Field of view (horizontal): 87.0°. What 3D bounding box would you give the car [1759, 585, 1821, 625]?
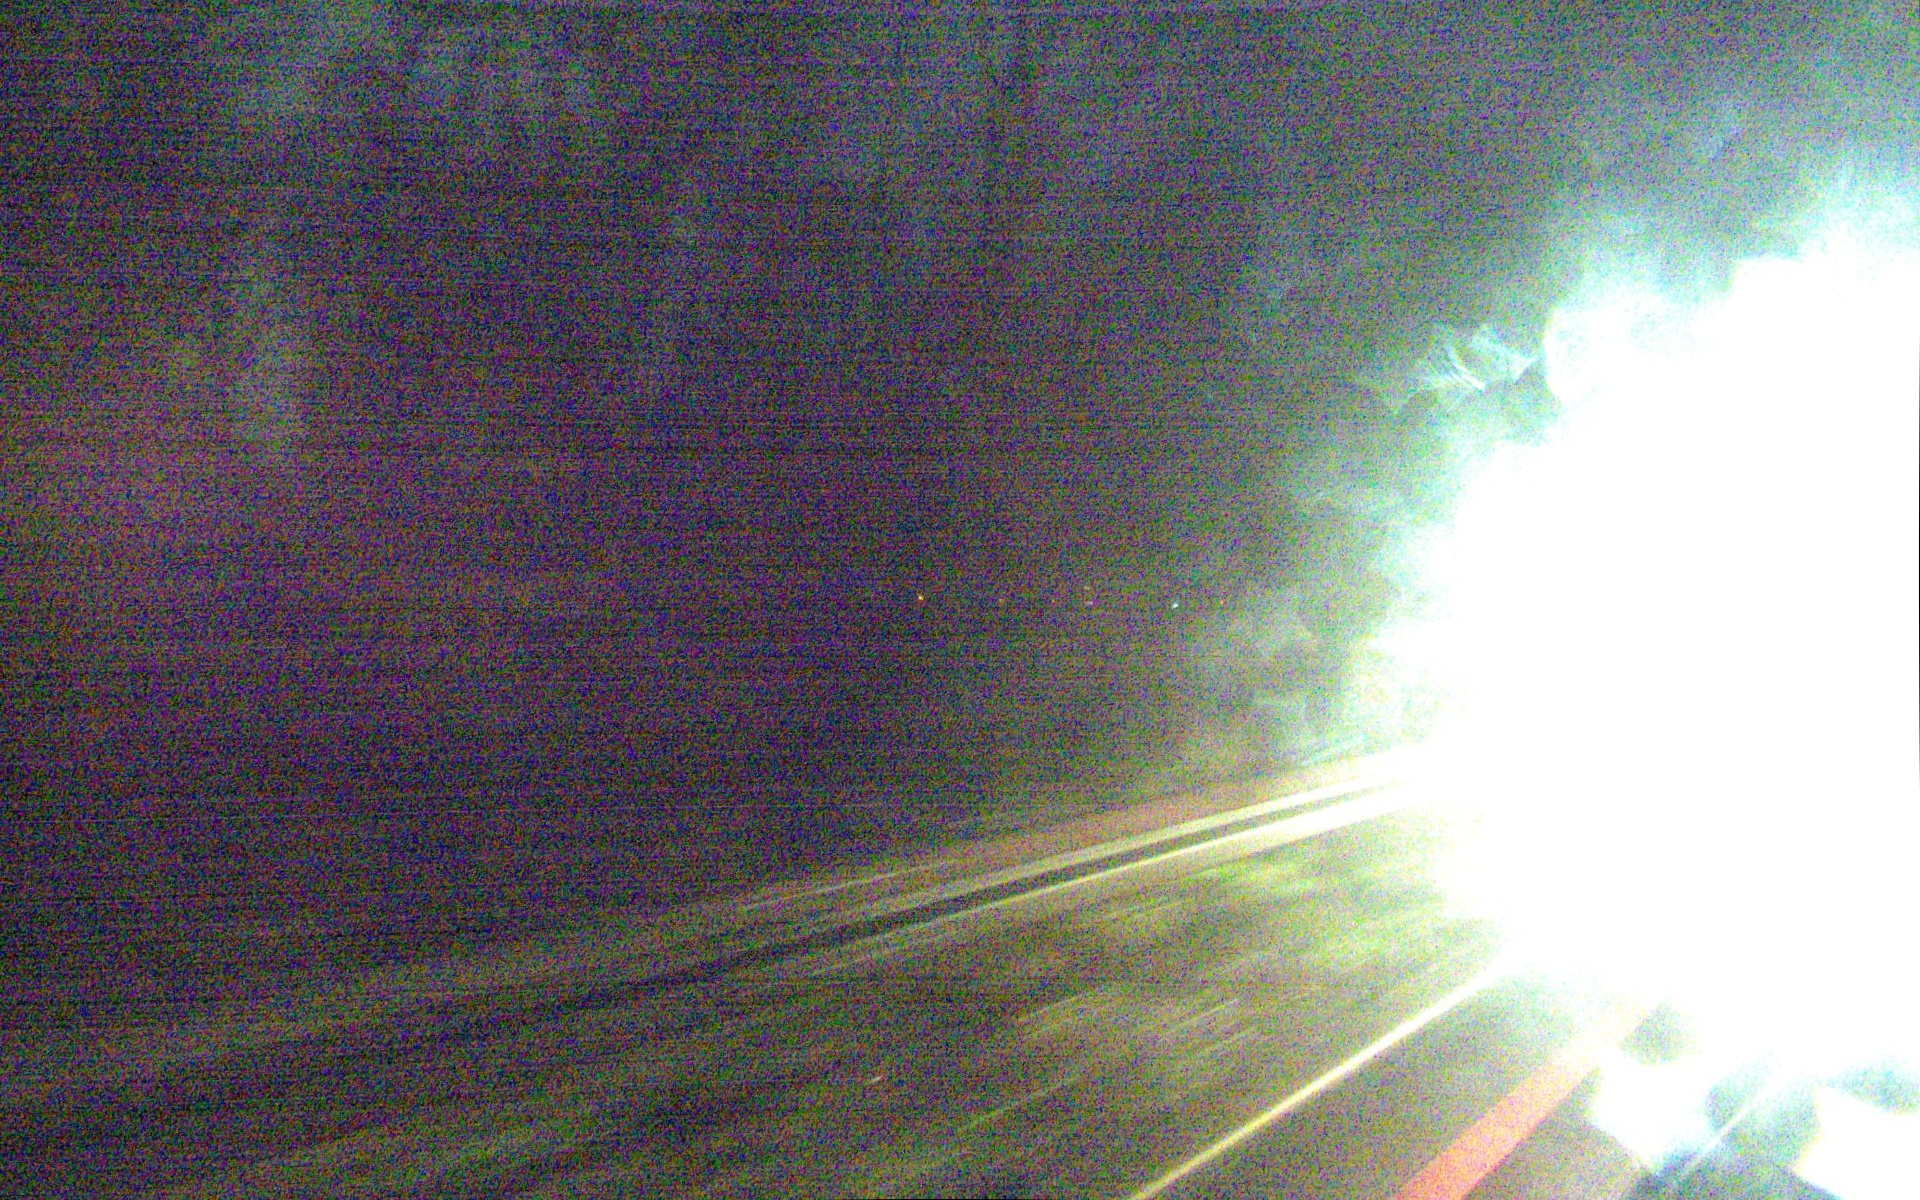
[{"bbox_3d":[38.956,0.231,47.591,1.772,1.727,3.953,-2,0,33],"label":"car"}]
